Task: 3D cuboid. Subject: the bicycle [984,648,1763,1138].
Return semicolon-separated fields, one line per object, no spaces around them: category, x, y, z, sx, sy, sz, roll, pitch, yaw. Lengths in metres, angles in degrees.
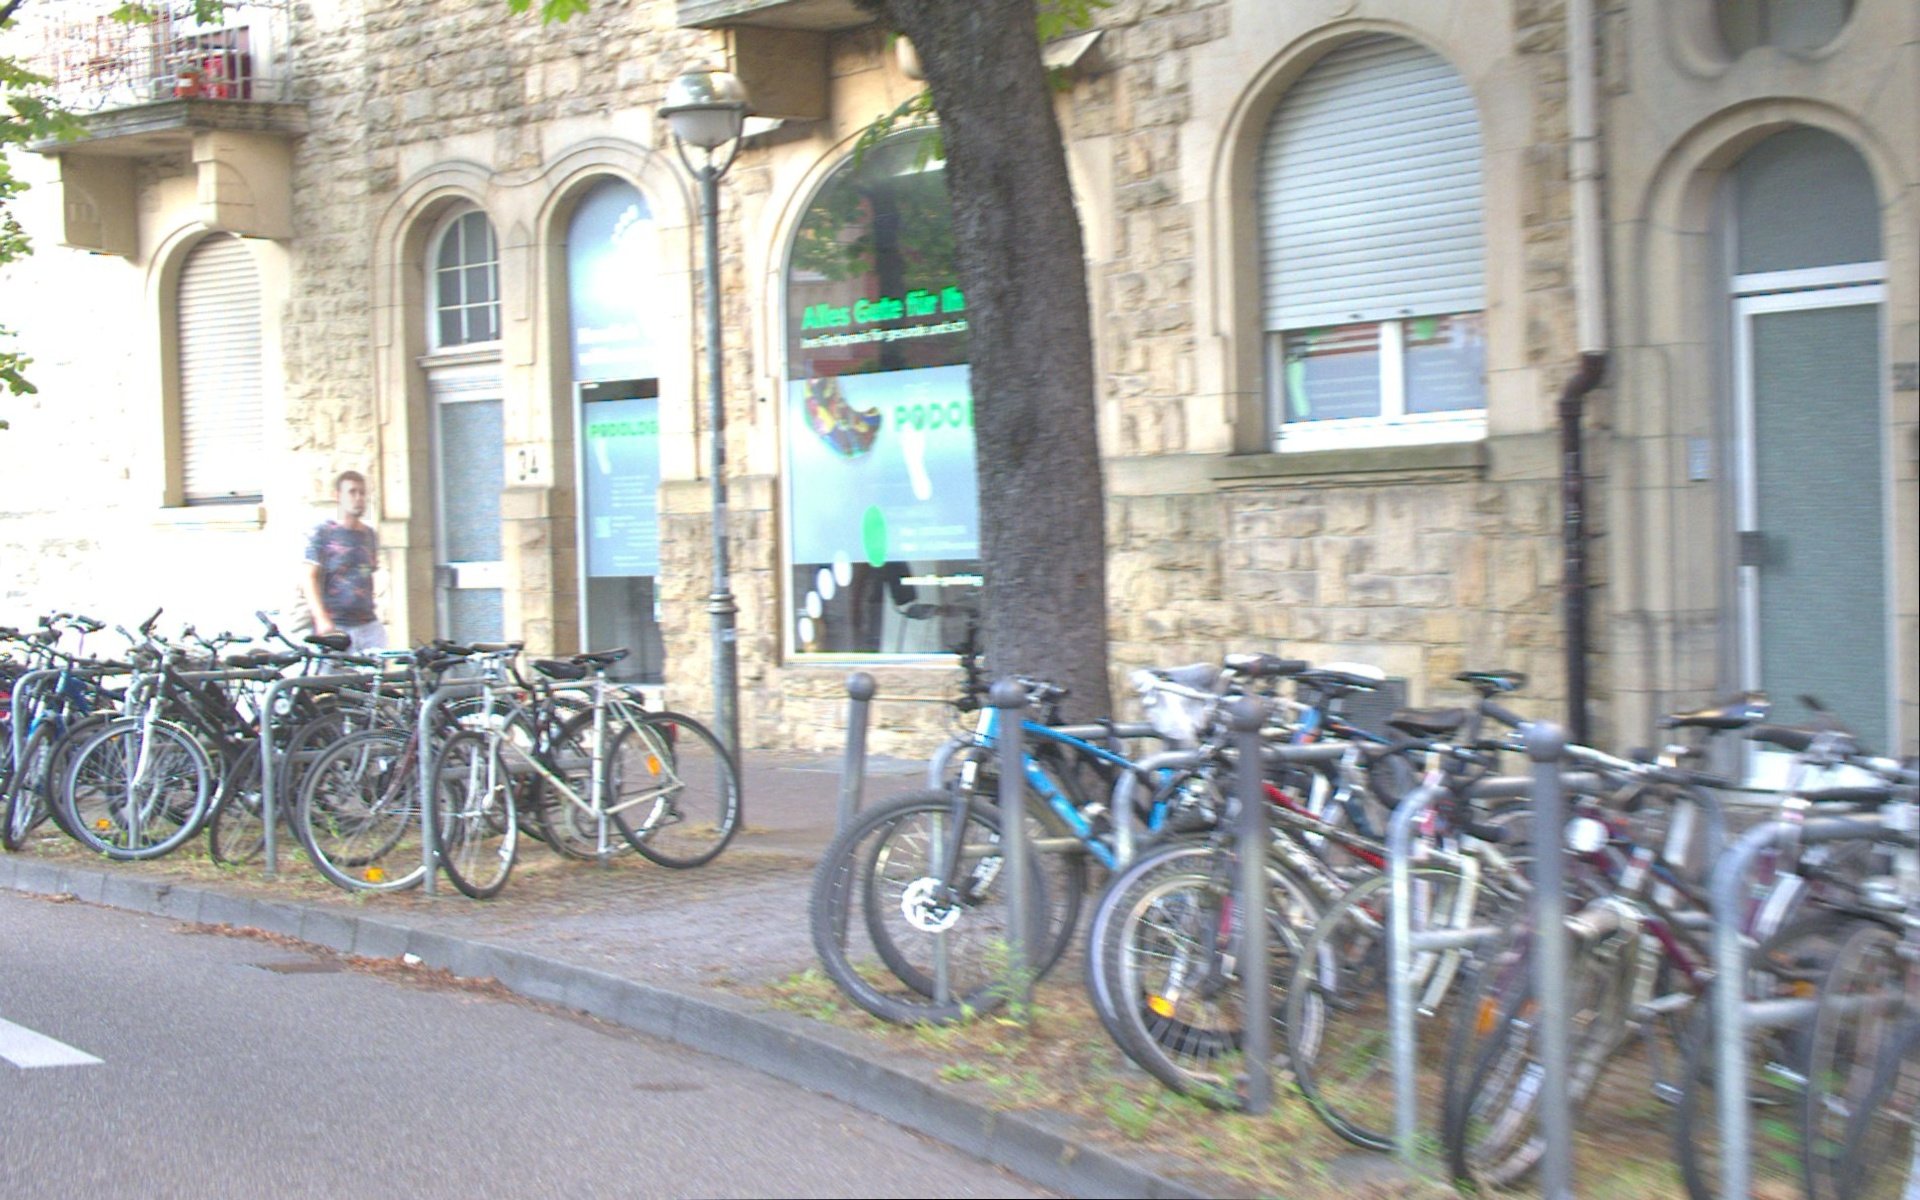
bicycle;1.071;0.743;8.939;1.849;1.088;0.419;-2;-18;-19

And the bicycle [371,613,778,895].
bicycle;-1.619;0.627;14.594;1.670;1.074;0.486;-3;2;-37

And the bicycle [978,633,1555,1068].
bicycle;0.942;0.689;10.167;1.850;1.100;0.573;-3;2;-42

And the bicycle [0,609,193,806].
bicycle;-5.320;0.605;19.432;0.699;1.034;1.802;0;2;44

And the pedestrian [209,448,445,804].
pedestrian;-3.863;0.132;20.969;1.011;2.078;1.060;-3;3;-33

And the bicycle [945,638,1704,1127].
bicycle;0.970;0.737;9.197;1.849;1.126;0.419;-2;-18;-19

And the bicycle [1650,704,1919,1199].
bicycle;2.212;0.707;6.030;1.914;1.061;0.553;-2;1;-18

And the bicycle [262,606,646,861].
bicycle;-2.338;0.598;15.966;1.670;1.074;0.486;-2;1;-29

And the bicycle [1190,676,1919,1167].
bicycle;1.489;0.723;8.105;1.849;0.996;0.419;-2;1;-19

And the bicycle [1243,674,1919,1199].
bicycle;1.591;0.735;7.831;1.849;1.048;0.419;-2;1;-19

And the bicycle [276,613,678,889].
bicycle;-2.074;0.628;14.898;1.670;1.074;0.486;-3;2;-37

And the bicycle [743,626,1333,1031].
bicycle;0.269;0.684;10.895;1.879;1.136;0.492;-1;4;-32

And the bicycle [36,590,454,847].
bicycle;-3.559;0.561;17.190;1.886;1.158;0.704;-3;2;-35

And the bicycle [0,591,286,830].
bicycle;-4.577;0.564;18.303;0.640;1.158;1.887;0;2;44

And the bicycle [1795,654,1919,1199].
bicycle;2.286;0.660;5.287;1.914;1.196;0.553;-2;1;-18

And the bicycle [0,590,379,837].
bicycle;-4.024;0.559;17.793;1.886;1.158;0.640;-3;2;-35

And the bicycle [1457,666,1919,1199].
bicycle;1.947;0.698;6.866;1.849;1.113;0.419;-2;1;-15

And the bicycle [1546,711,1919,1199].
bicycle;2.072;0.721;6.563;1.849;1.011;0.419;-2;1;-15

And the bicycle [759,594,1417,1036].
bicycle;0.393;0.640;10.474;1.878;1.213;0.492;-2;-5;-19

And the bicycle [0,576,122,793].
bicycle;-5.884;0.509;20.091;0.699;1.232;1.788;0;2;44

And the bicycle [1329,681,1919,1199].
bicycle;1.795;0.732;7.388;1.914;1.057;0.535;-2;1;-18

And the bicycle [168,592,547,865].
bicycle;-2.805;0.577;16.043;1.670;1.124;0.486;-2;8;-28

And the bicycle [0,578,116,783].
bicycle;-6.182;0.509;21.231;0.650;1.232;1.789;-1;2;42

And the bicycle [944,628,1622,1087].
bicycle;0.914;0.686;9.604;1.849;1.140;0.419;-2;1;-19
